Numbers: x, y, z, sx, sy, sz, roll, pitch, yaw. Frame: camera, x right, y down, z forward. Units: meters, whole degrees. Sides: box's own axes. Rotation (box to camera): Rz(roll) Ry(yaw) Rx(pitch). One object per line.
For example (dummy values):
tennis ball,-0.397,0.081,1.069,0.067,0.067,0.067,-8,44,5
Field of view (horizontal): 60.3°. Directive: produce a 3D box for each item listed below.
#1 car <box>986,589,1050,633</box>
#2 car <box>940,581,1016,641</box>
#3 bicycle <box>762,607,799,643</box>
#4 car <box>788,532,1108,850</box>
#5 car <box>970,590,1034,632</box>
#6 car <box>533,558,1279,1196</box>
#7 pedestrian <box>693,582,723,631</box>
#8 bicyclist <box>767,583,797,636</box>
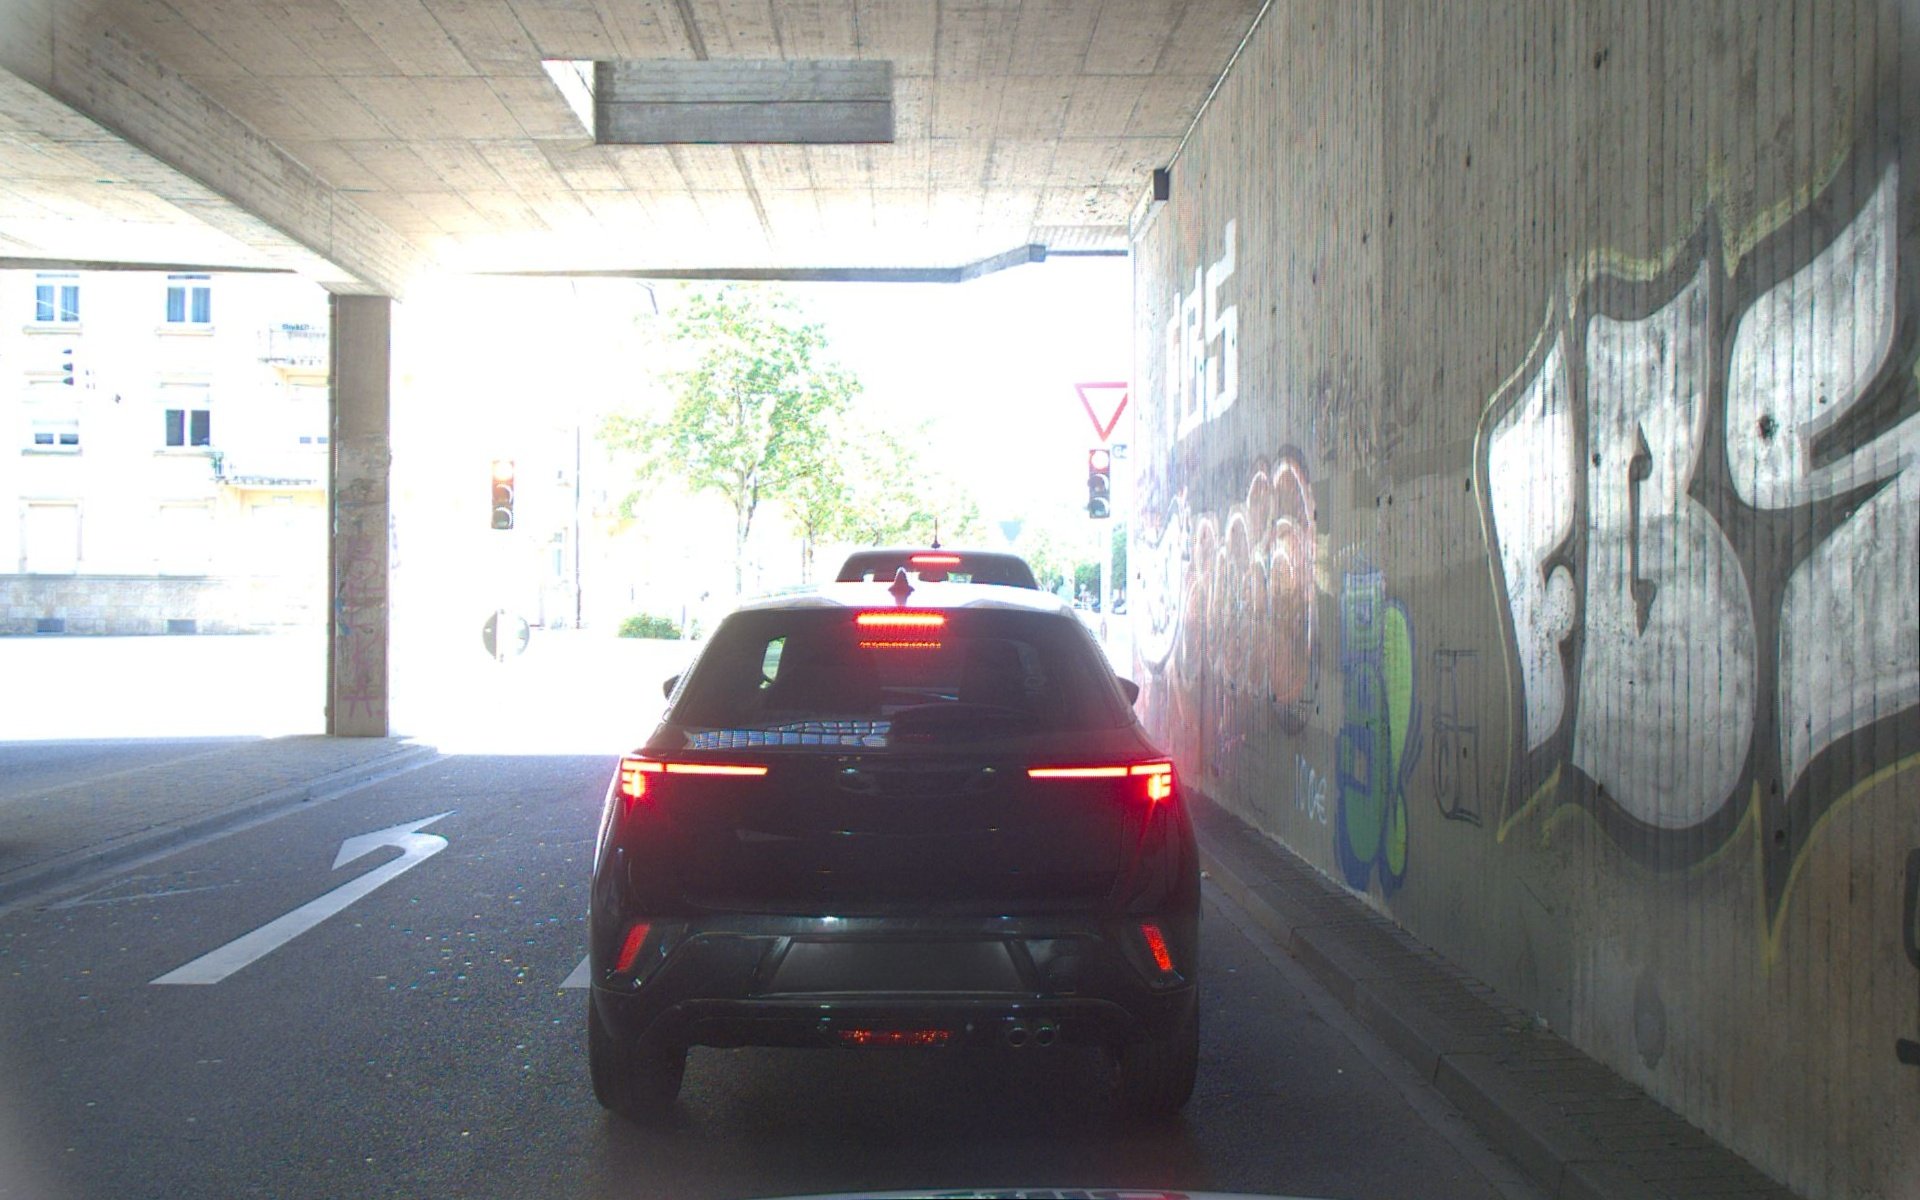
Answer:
car,2.462,0.475,69.067,2.173,1.749,4.463,0,-1,9
car,0.493,0.331,44.207,1.927,1.523,3.896,0,-1,1
bicycle,-5.561,0.767,51.450,0.716,1.086,1.690,1,0,9
car,-0.098,0.532,11.913,1.906,1.892,3.963,0,0,-1
car,1.617,0.434,62.244,1.926,1.523,3.899,0,-1,8
car,-0.158,0.672,6.088,1.844,1.565,3.963,0,0,-1
pedestrian,-10.627,0.253,69.833,0.971,2.049,1.089,0,0,7
bicyclist,-5.543,0.301,51.484,0.713,1.609,0.815,1,-1,9
